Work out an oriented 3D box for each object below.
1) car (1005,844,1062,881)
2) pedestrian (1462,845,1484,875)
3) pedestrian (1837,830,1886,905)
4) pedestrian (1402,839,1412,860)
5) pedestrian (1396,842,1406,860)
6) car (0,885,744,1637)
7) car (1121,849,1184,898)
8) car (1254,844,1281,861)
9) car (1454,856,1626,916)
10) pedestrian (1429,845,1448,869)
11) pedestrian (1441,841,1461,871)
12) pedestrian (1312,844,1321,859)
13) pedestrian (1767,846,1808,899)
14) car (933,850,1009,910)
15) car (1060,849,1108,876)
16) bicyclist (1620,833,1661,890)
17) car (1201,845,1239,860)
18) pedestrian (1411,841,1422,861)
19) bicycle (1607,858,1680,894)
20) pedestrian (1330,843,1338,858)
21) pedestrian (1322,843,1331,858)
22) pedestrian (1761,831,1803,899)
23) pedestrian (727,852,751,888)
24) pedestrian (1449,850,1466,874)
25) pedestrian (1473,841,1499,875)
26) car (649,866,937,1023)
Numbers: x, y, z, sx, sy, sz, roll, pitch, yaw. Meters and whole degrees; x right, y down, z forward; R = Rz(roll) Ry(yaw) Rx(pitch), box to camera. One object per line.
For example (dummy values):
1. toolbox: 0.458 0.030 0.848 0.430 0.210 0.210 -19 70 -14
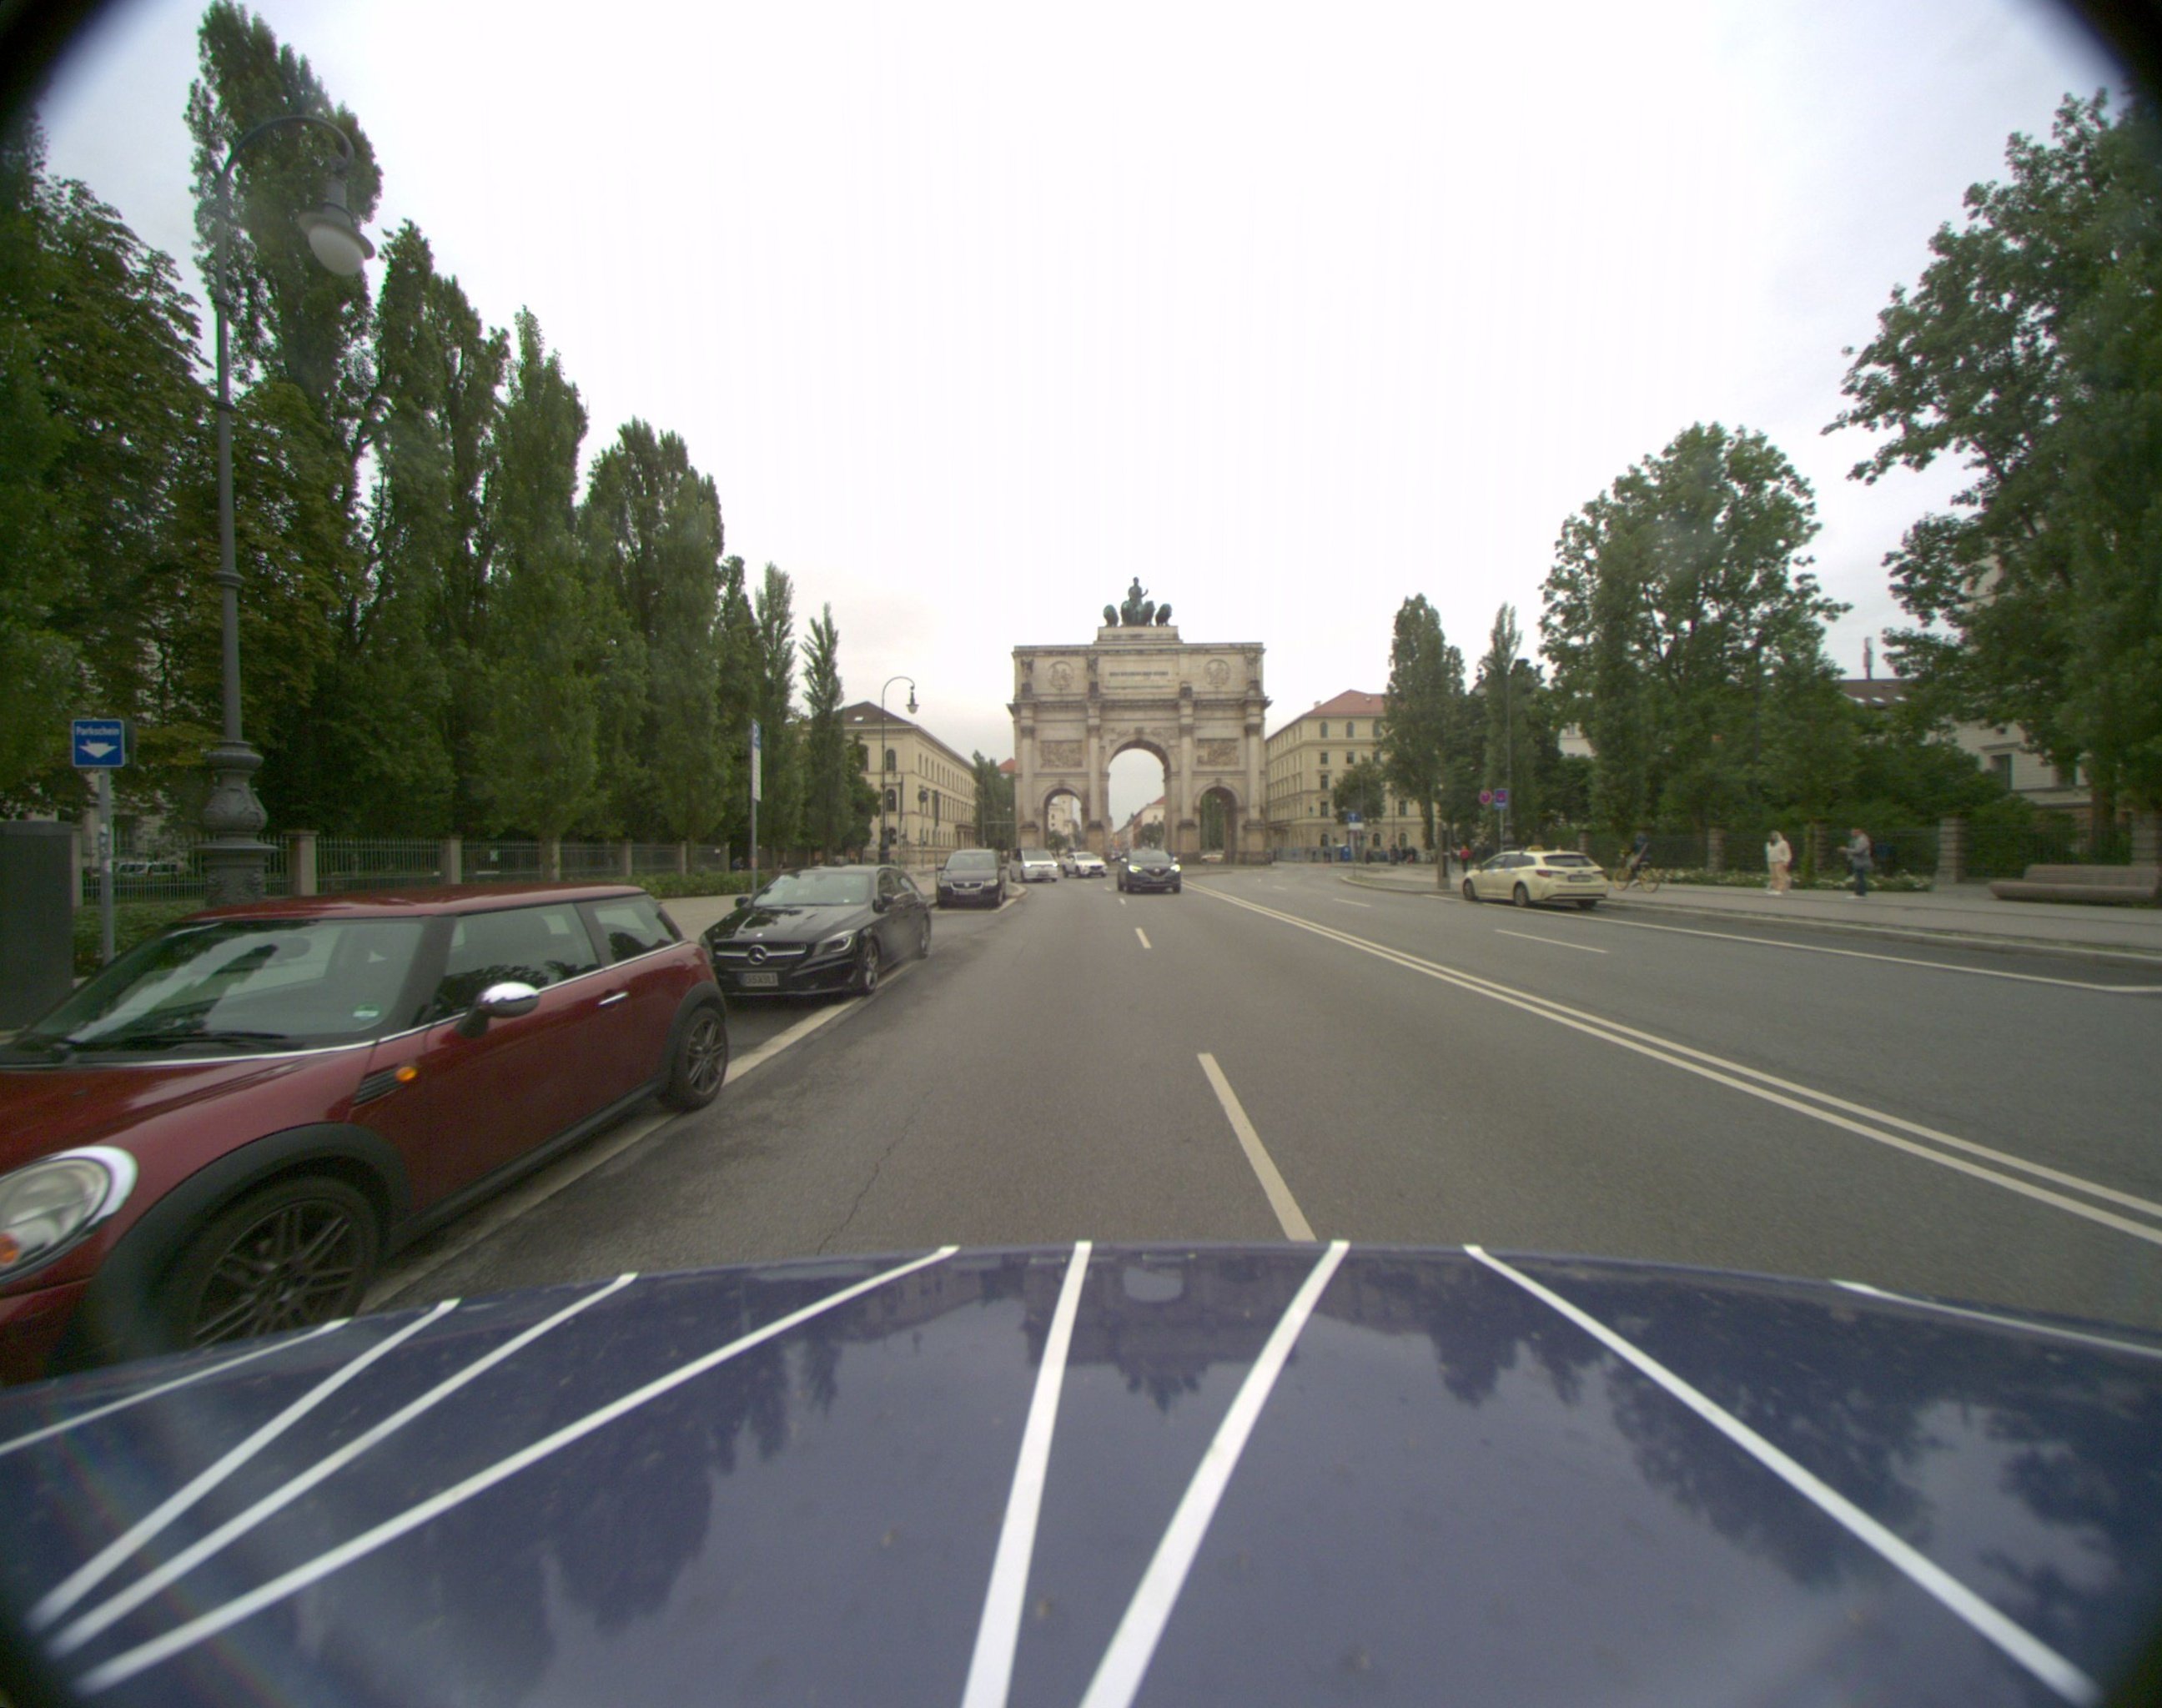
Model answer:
1. car: -2.795 0.444 43.074 2.066 1.916 5.720 -2 1 -15
2. pedestrian: 25.217 0.376 48.898 0.990 1.860 1.031 -2 1 12
3. pedestrian: 18.187 0.299 17.714 0.533 1.720 0.583 -1 1 -10
4. pedestrian: 32.178 -0.444 75.022 0.769 2.002 0.887 -1 1 10
5. pedestrian: 33.524 -0.332 79.656 0.880 1.812 0.686 -1 1 10
6. car: -3.113 0.963 3.346 1.564 1.461 3.653 -1 1 1
7. car: 2.486 0.634 27.286 1.840 1.576 4.185 -1 0 0
8. car: 20.597 -0.189 83.986 1.998 1.805 4.000 -1 1 1
9. car: 11.800 0.751 19.939 1.797 1.329 4.468 -1 0 -1
10. pedestrian: 23.274 0.198 49.527 0.888 1.508 1.031 -2 1 12
11. pedestrian: 21.567 0.125 44.261 0.958 1.708 1.032 -2 1 23
12. pedestrian: 30.020 -0.311 96.796 1.031 1.812 0.882 -1 1 9
13. pedestrian: 18.697 0.476 20.112 0.533 1.367 0.583 -1 1 -10
14. car: -3.178 0.700 22.743 1.847 1.598 4.366 -1 1 -3
15. car: 0.133 0.478 46.270 1.912 1.516 4.003 -1 0 -16
16. bicyclist: 16.072 0.201 21.827 0.647 1.583 0.661 -2 1 0
17. car: 16.382 -0.152 89.757 2.004 1.740 3.989 -1 1 -38
18. pedestrian: 33.041 -0.316 74.876 0.769 2.002 0.887 -1 1 10
19. bicycle: 16.087 0.607 21.795 0.674 0.947 1.913 -2 1 1
20. pedestrian: 30.608 -0.418 91.964 0.880 1.812 0.686 -1 1 10
21. pedestrian: 29.593 -0.377 91.531 0.880 1.812 0.686 -1 1 10
22. pedestrian: 17.997 0.279 19.504 0.533 1.720 0.583 -1 1 -10
23. pedestrian: -17.364 0.797 38.610 0.812 1.761 0.884 -1 1 -1
24. pedestrian: 24.257 0.510 48.953 0.728 1.508 0.842 -2 1 12
25. pedestrian: 21.094 0.202 39.604 0.959 1.708 1.031 -2 1 14
26. car: -3.180 0.903 9.506 1.846 1.383 4.438 -1 0 1
